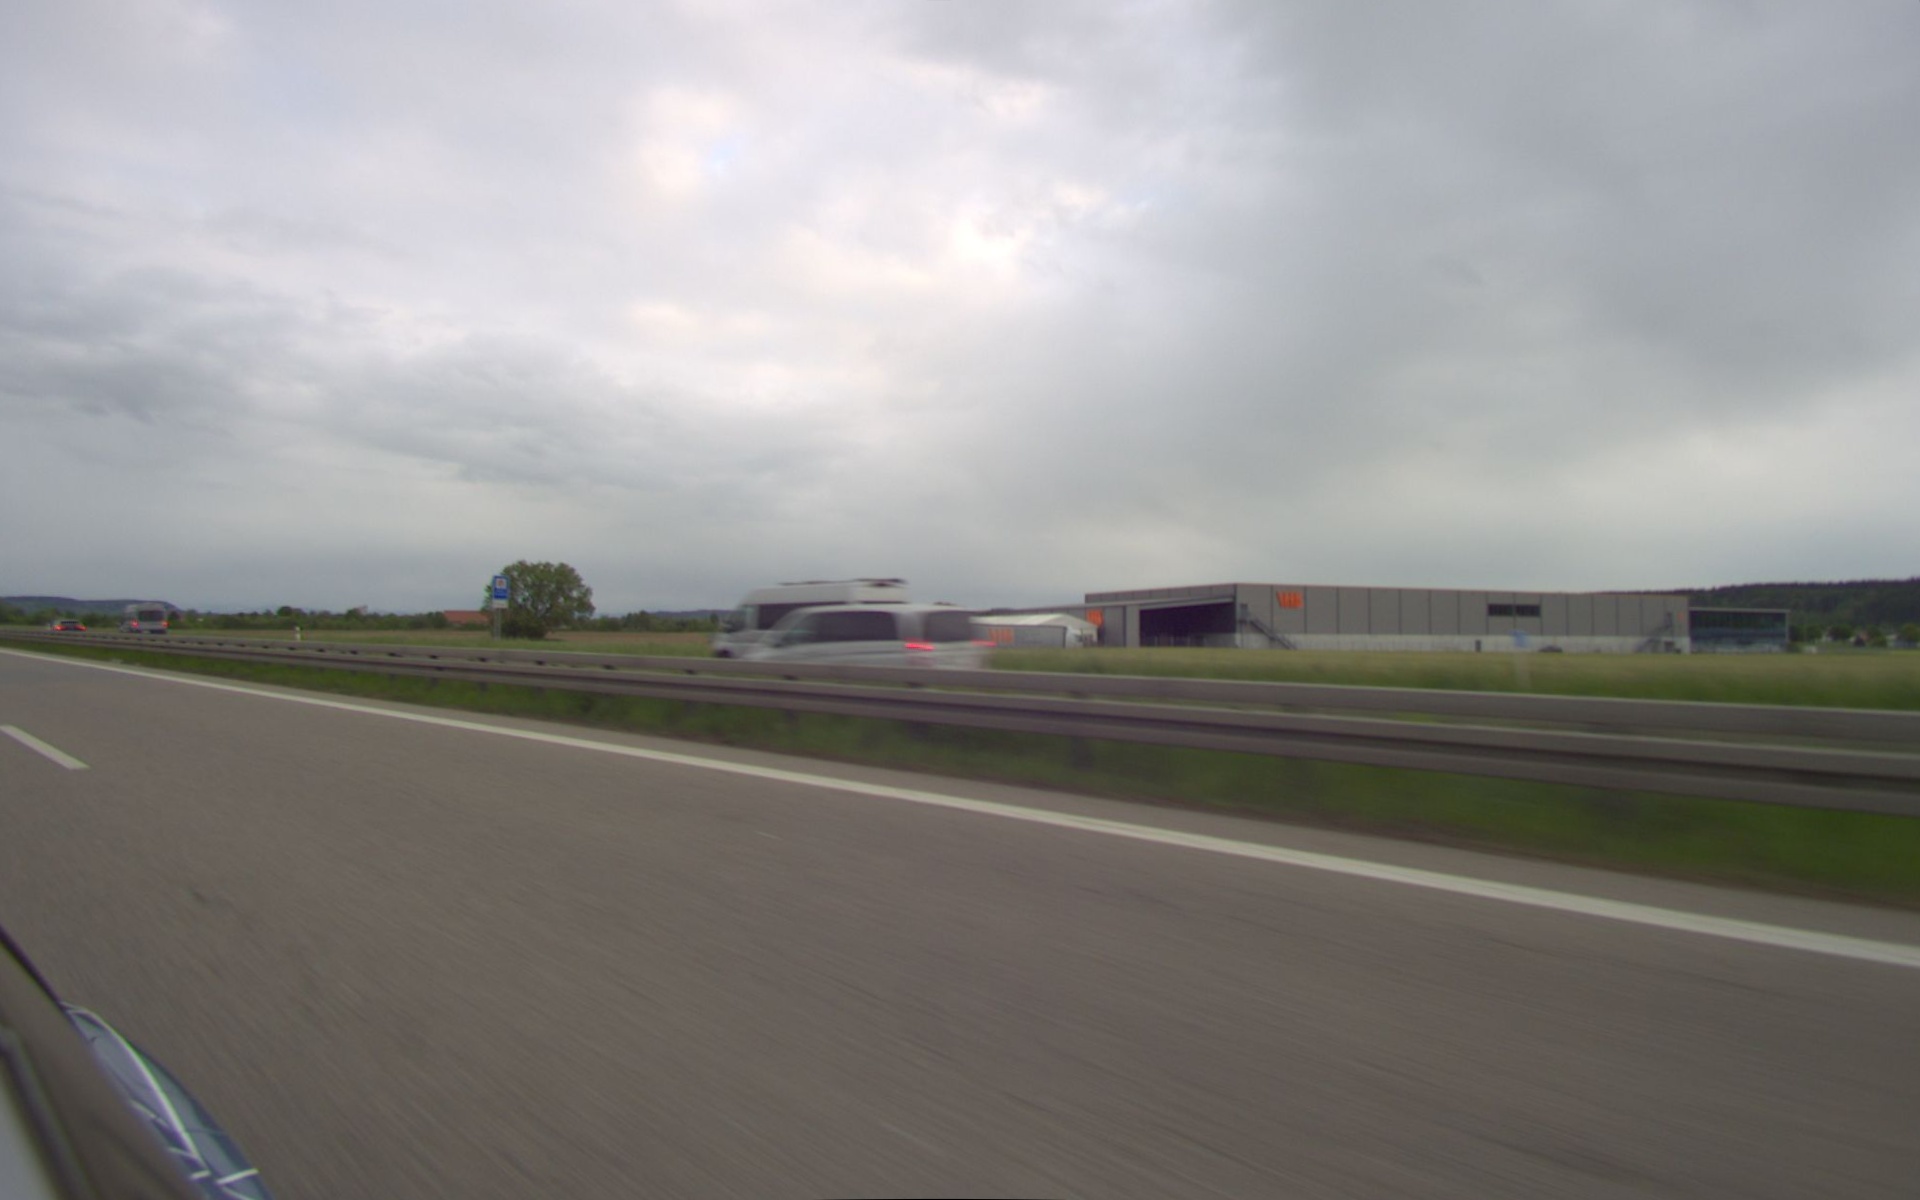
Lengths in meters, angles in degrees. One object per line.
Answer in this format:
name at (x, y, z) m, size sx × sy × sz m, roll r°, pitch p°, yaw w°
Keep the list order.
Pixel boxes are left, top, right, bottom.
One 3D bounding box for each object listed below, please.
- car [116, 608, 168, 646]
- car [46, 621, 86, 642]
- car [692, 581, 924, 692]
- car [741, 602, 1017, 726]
car at (-63.338, 2.089, 78.318) m, size 6.424 × 2.822 × 2.084 m, roll -1°, pitch -1°, yaw 41°
car at (-68.043, 2.406, 77.003) m, size 4.198 × 1.519 × 1.729 m, roll -1°, pitch -1°, yaw 41°
car at (-4.042, 0.873, 25.877) m, size 6.586 × 2.501 × 2.123 m, roll -1°, pitch -1°, yaw 41°
car at (-1.571, 1.040, 18.071) m, size 5.068 × 1.905 × 1.886 m, roll -1°, pitch -1°, yaw 41°
